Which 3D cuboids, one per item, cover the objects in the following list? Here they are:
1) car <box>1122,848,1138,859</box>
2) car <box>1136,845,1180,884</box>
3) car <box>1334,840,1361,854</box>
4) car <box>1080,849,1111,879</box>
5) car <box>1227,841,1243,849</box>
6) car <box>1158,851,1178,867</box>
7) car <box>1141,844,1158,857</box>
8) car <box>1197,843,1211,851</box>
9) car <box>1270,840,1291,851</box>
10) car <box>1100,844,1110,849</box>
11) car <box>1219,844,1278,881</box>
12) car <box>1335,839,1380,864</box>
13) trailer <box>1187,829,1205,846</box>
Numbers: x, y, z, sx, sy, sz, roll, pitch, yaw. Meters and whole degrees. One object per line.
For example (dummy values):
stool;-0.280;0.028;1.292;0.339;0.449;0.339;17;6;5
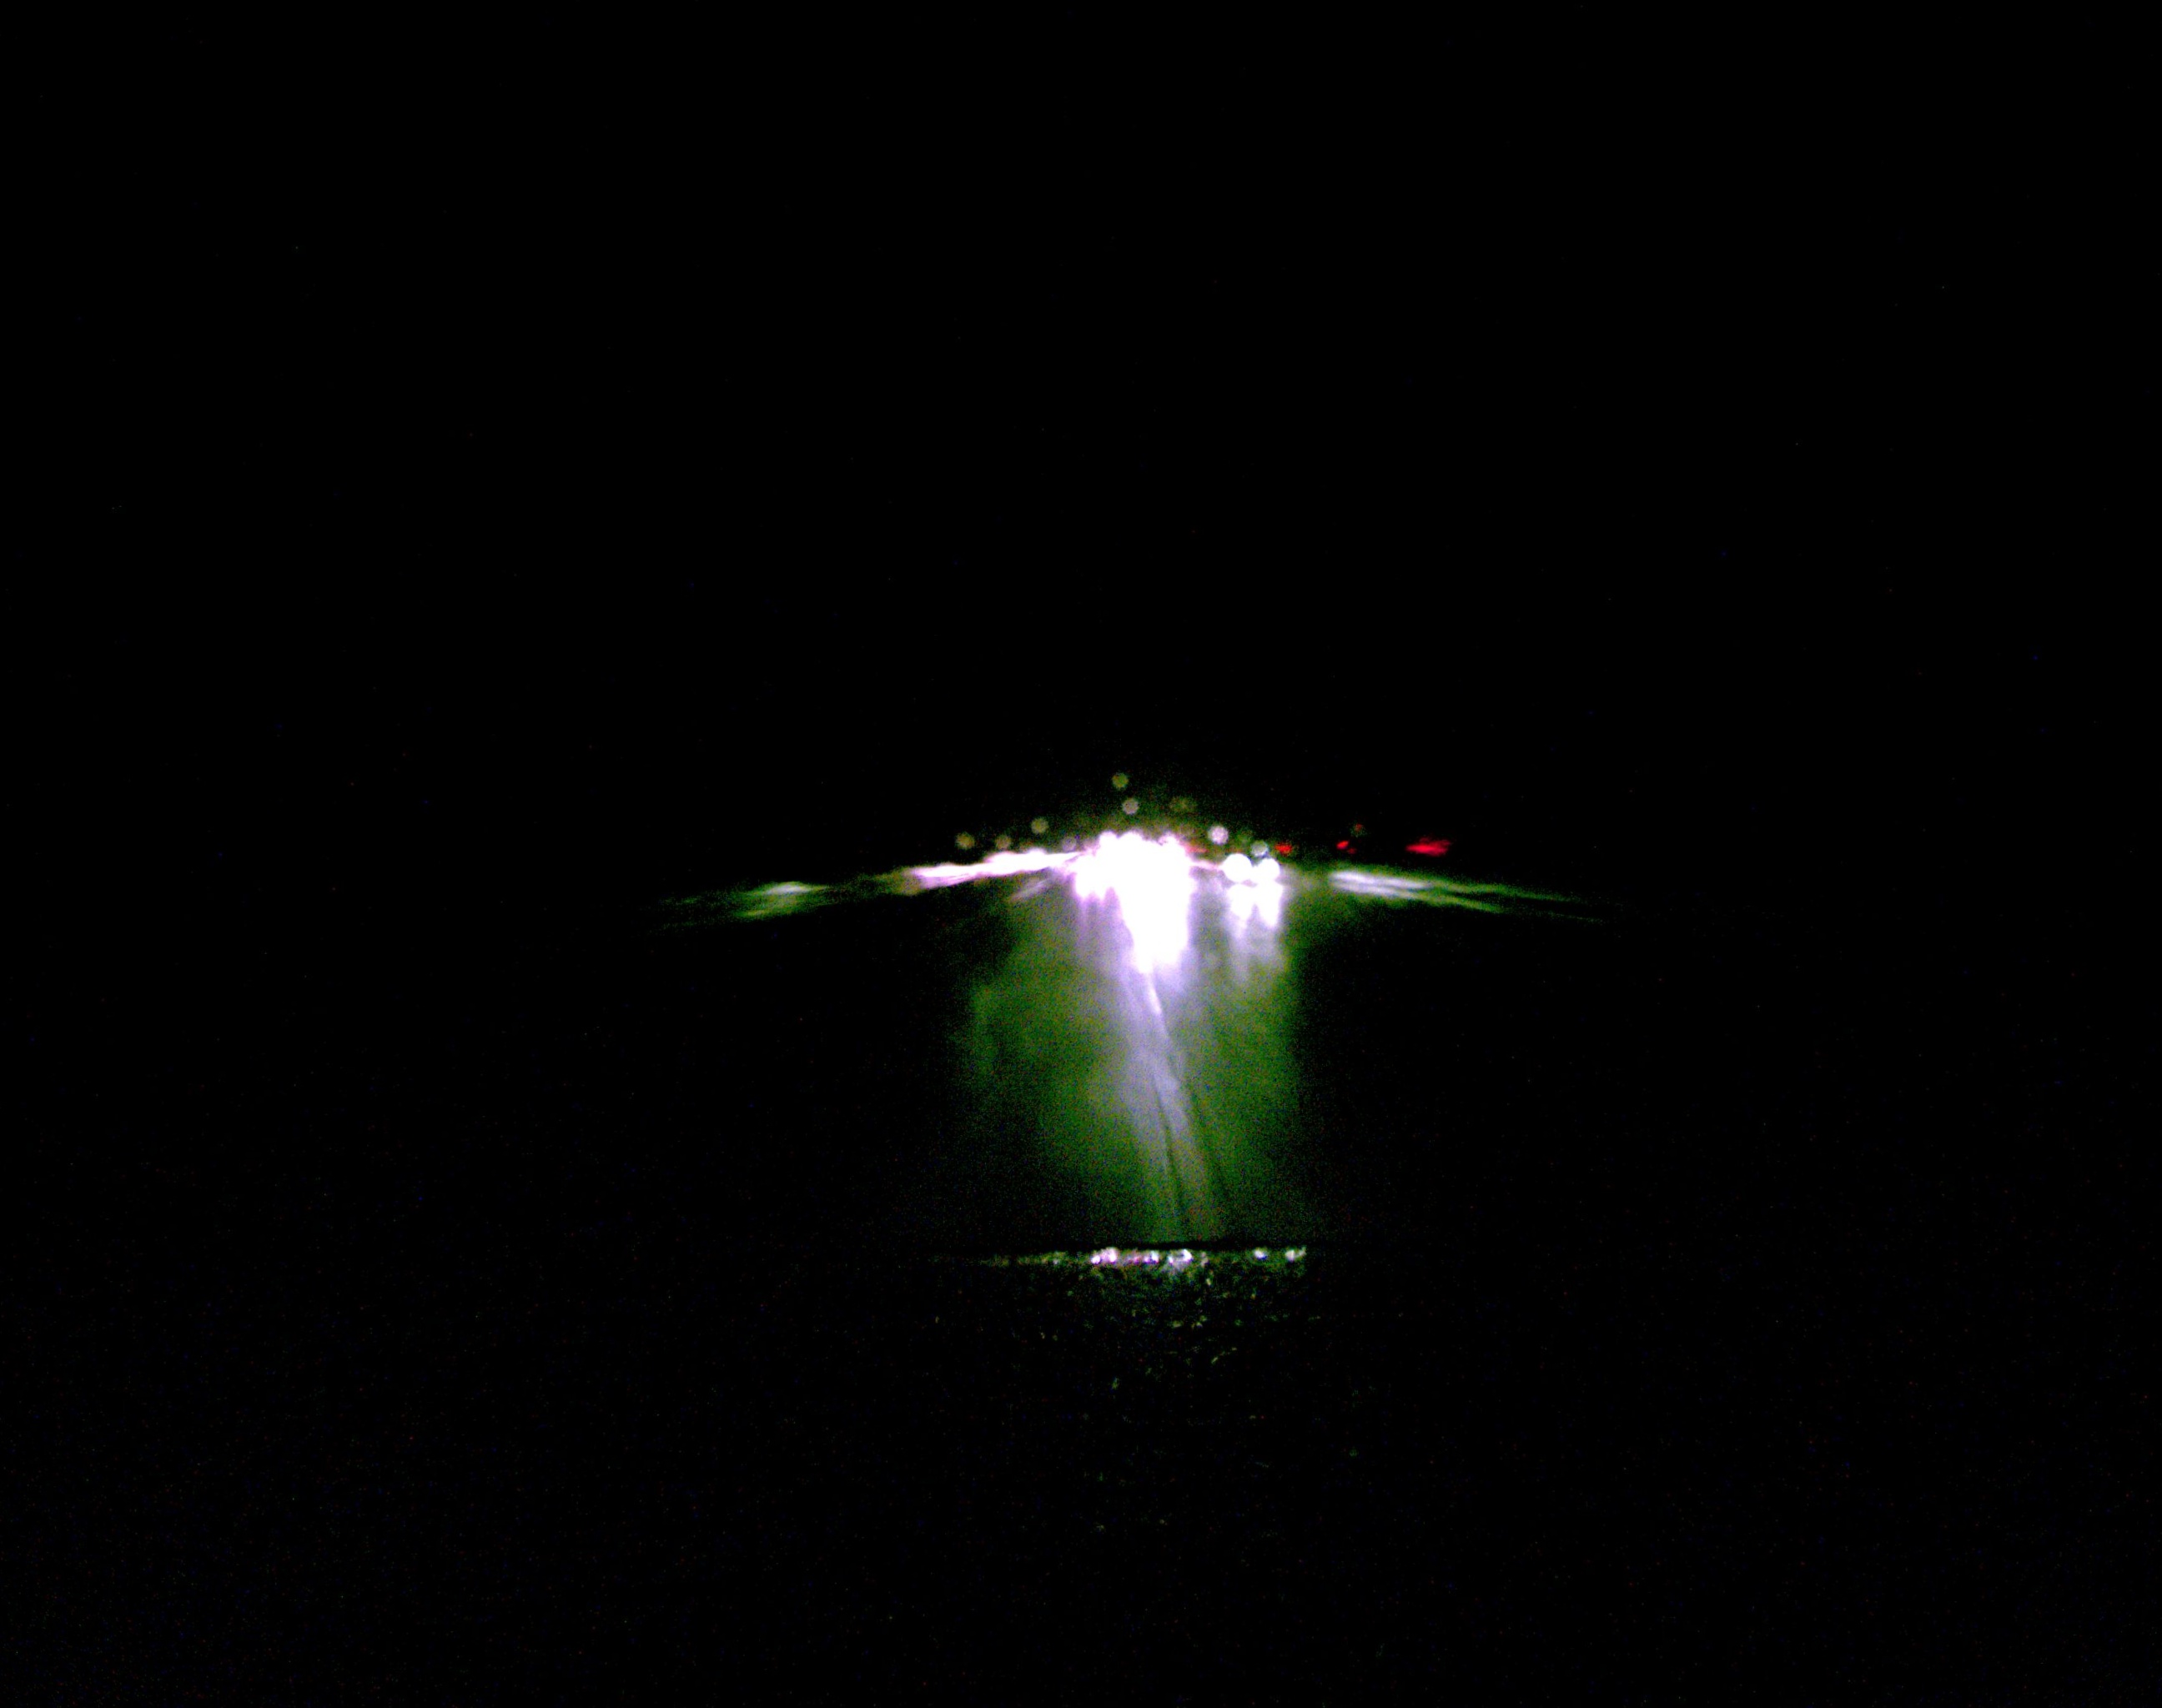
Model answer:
car;5.676;-0.032;87.696;1.693;1.150;3.420;-2;1;2
car;3.778;0.465;36.963;1.997;1.667;4.001;-2;1;7
car;30.186;-0.842;86.214;1.712;1.456;3.999;-2;1;1
car;1.127;0.711;56.389;1.998;2.002;4.000;-2;1;4
car;28.074;-1.636;138.679;1.965;1.456;3.999;-3;1;0
car;9.888;0.570;86.897;1.998;1.667;4.000;-2;1;3
car;9.517;-0.529;106.560;1.998;1.745;3.999;-3;1;1
car;23.826;-1.348;147.232;1.977;1.456;3.999;-2;1;0
car;31.128;-1.354;118.656;1.791;1.456;5.038;-3;1;0
car;5.211;-1.602;163.405;1.998;1.150;4.000;-2;1;4
car;8.043;0.375;36.822;2.309;1.600;3.872;-2;1;6
car;20.735;-0.216;57.200;1.838;1.652;3.999;-3;1;0
trailer;36.791;-5.196;243.136;4.350;5.112;8.995;-5;1;1
